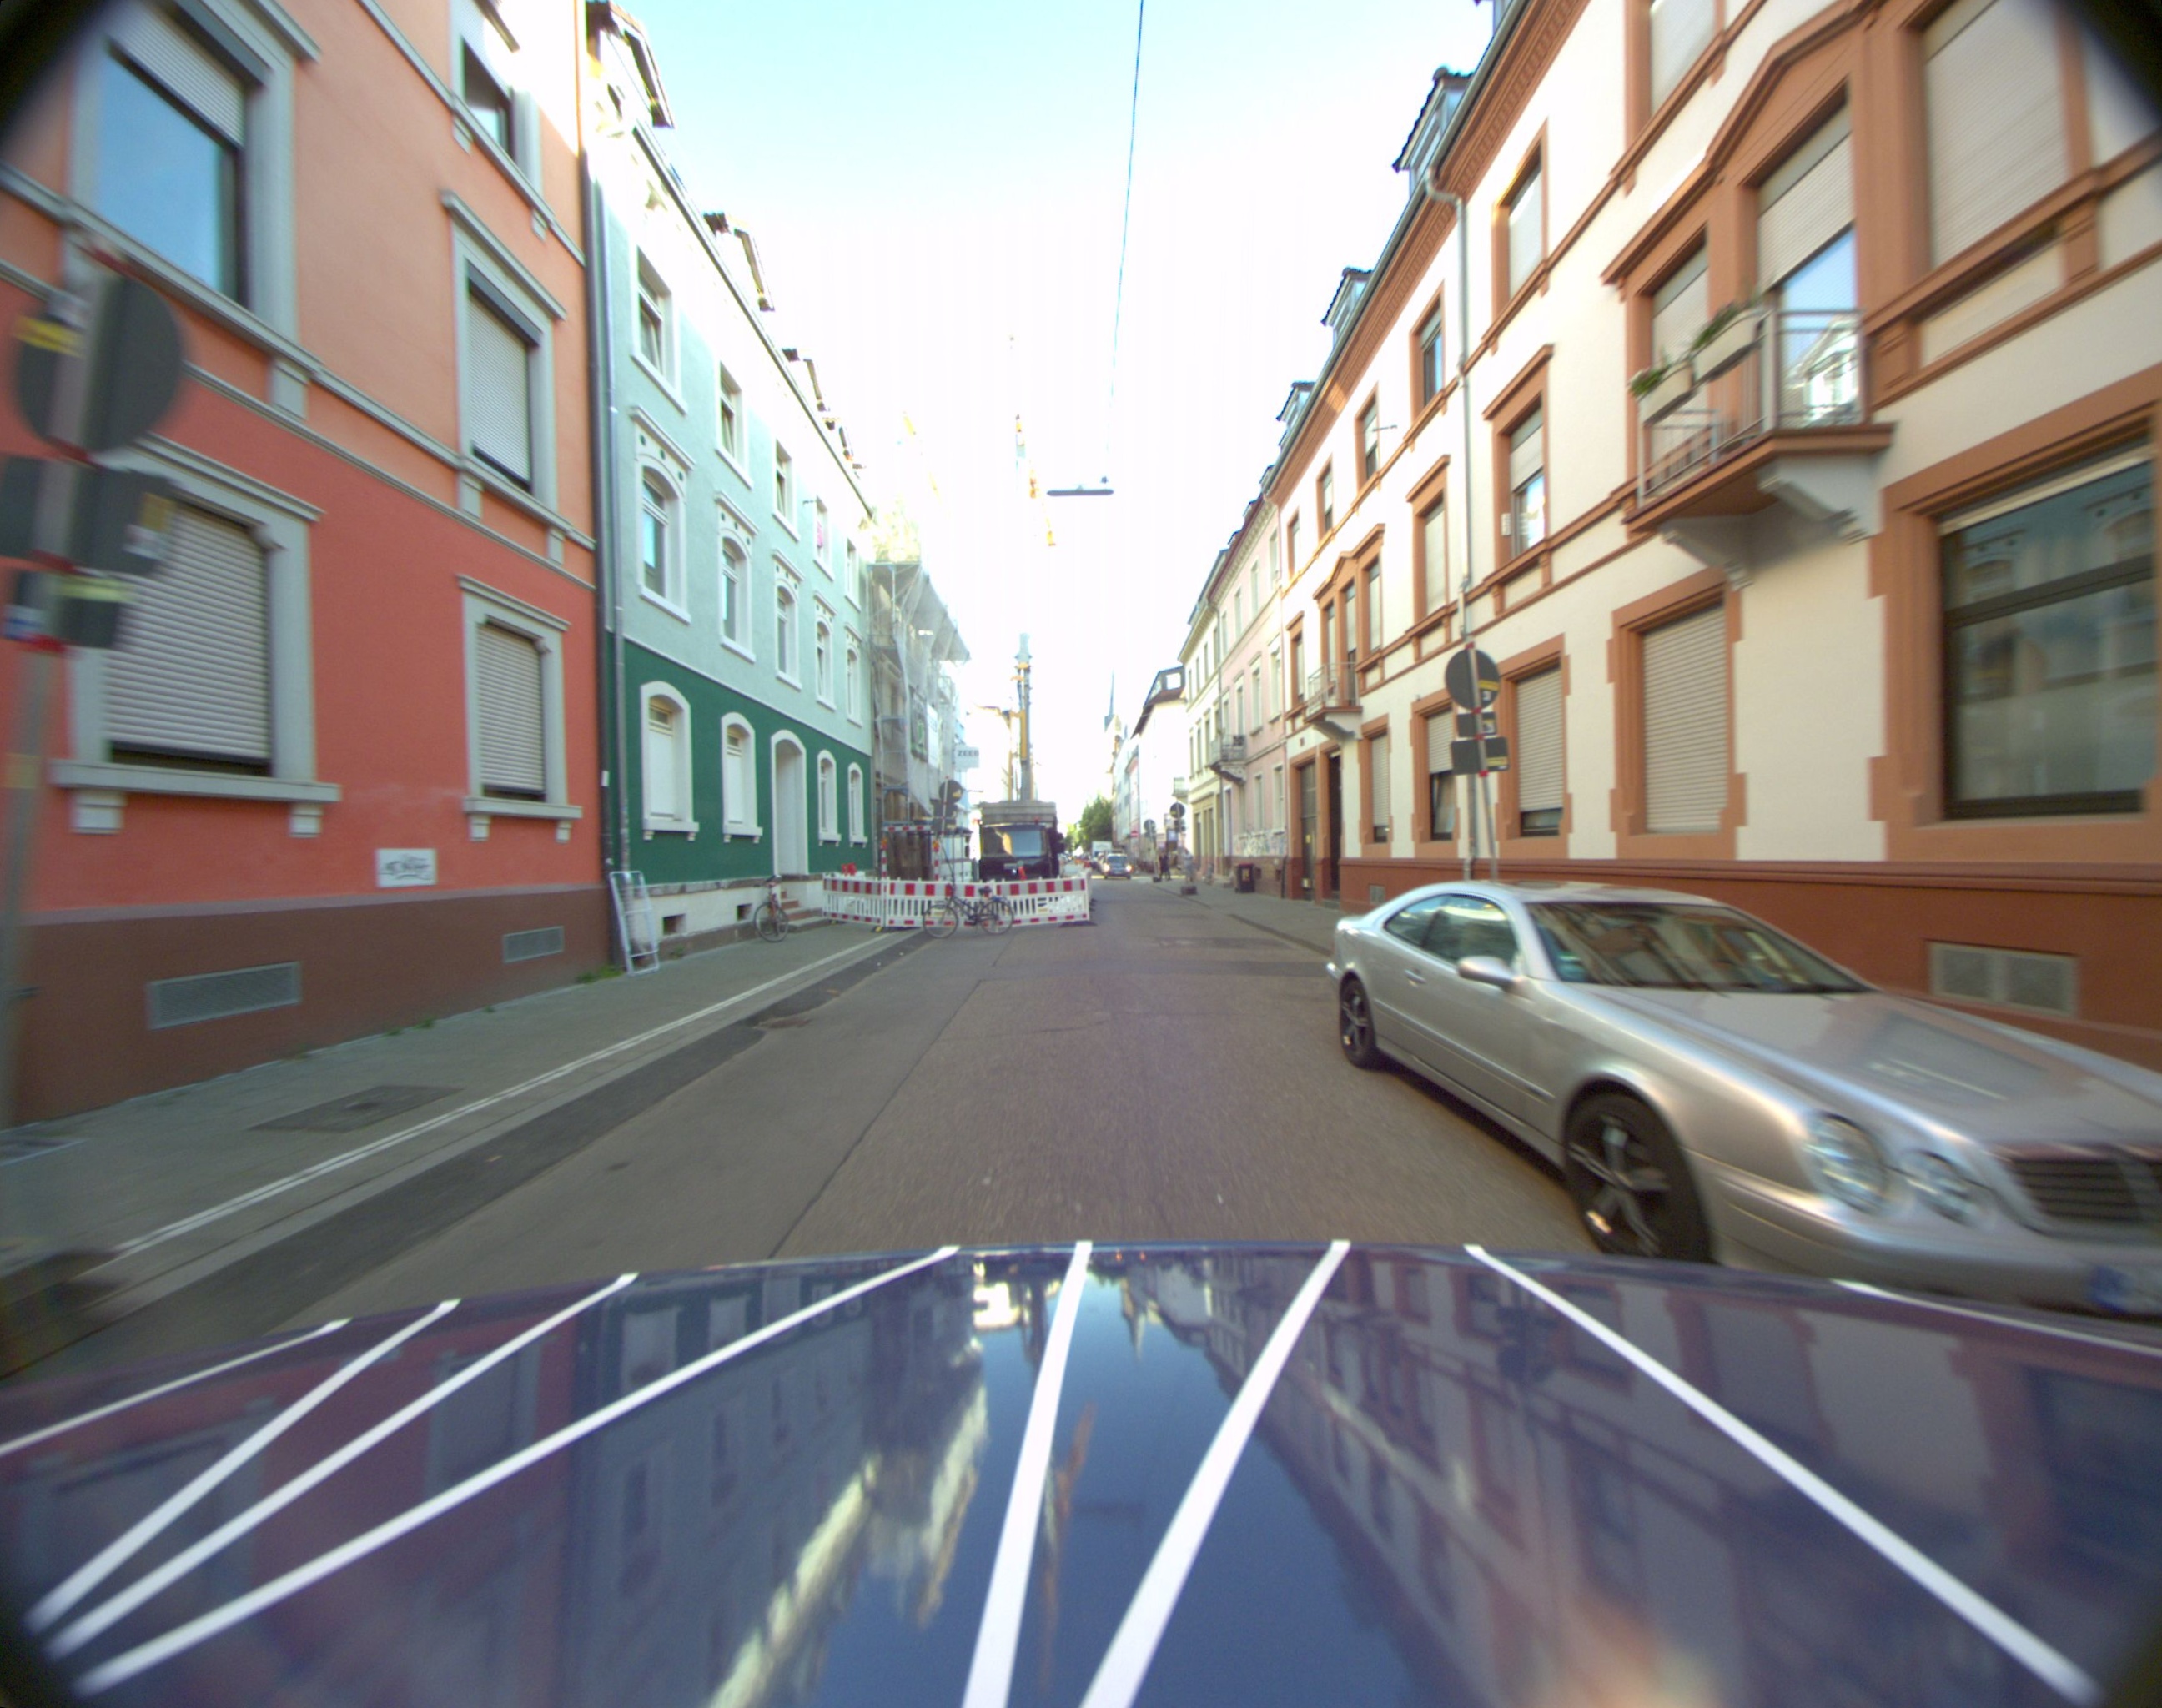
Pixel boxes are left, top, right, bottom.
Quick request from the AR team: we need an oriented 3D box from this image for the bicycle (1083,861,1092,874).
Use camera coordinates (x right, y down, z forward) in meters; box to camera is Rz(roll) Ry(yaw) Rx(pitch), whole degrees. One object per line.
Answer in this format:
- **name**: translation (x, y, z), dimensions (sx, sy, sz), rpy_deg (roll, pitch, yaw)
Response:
- **bicycle**: translation (0.567, 1.171, 68.407), dimensions (0.710, 1.105, 1.935), rpy_deg (-1, 0, 2)

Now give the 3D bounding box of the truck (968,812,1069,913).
- **truck**: translation (-1.854, 0.203, 25.636), dimensions (2.668, 2.798, 7.392), rpy_deg (-2, 1, 0)

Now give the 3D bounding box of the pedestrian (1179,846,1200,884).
- **pedestrian**: translation (5.092, 0.529, 35.563), dimensions (0.695, 1.691, 0.865), rpy_deg (-6, -1, 0)

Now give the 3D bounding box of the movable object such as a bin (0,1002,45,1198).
- **movable object such as a bin**: translation (-5.420, 1.182, 3.457), dimensions (0.599, 0.901, 0.579), rpy_deg (2, 2, -2)

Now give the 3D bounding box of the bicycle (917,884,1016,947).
- **bicycle**: translation (-2.247, 1.195, 15.084), dimensions (1.855, 1.104, 0.643), rpy_deg (-2, 1, -7)

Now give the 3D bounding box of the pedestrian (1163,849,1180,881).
- **pedestrian**: translation (5.329, 0.631, 44.677), dimensions (0.772, 1.839, 0.779), rpy_deg (-2, 1, -8)

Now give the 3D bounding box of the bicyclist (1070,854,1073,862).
- **bicyclist**: translation (-2.063, 0.892, 163.468), dimensions (0.716, 1.650, 0.877), rpy_deg (-2, 1, -3)

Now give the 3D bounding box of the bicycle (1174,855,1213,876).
- **bicycle**: translation (7.594, 0.776, 51.470), dimensions (2.482, 1.351, 0.928), rpy_deg (-1, 1, 1)

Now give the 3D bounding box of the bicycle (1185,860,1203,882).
- **bicycle**: translation (5.817, 0.848, 39.272), dimensions (0.605, 1.016, 1.818), rpy_deg (-5, 1, 0)

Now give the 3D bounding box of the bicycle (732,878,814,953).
- **bicycle**: translation (-5.393, 1.042, 13.417), dimensions (0.656, 1.122, 1.834), rpy_deg (3, 1, 0)

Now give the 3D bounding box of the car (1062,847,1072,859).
- **car**: translation (-3.437, -0.162, 181.940), dimensions (1.999, 2.777, 4.562), rpy_deg (-2, 1, -4)

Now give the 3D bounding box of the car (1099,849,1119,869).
- **car**: translation (2.658, 0.485, 73.032), dimensions (1.807, 1.834, 4.243), rpy_deg (0, 1, -1)

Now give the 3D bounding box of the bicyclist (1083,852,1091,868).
- **bicyclist**: translation (0.552, 0.521, 68.385), dimensions (0.710, 1.427, 0.790), rpy_deg (-1, 1, 2)

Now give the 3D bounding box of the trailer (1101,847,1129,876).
- **trailer**: translation (2.501, 0.545, 56.980), dimensions (1.666, 2.049, 4.362), rpy_deg (0, 1, -3)

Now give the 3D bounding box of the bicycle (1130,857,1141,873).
- **bicycle**: translation (4.039, 0.811, 56.316), dimensions (0.578, 1.132, 1.460), rpy_deg (-2, 1, -6)

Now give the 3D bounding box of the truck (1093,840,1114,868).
- **truck**: translation (2.544, -0.030, 87.291), dimensions (2.296, 3.165, 7.044), rpy_deg (0, 1, 1)

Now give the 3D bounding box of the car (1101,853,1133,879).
- **car**: translation (2.336, 0.767, 49.959), dimensions (1.726, 1.596, 4.165), rpy_deg (0, 0, -2)

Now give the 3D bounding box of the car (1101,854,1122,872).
- **car**: translation (2.685, 0.771, 67.667), dimensions (1.678, 1.488, 4.530), rpy_deg (0, 1, -1)

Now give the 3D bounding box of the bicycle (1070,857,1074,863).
- **bicycle**: translation (-2.043, 1.278, 163.447), dimensions (0.729, 1.173, 2.488), rpy_deg (-2, 1, -3)

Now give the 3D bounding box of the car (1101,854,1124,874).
- **car**: translation (2.593, 0.805, 62.778), dimensions (1.681, 1.546, 3.817), rpy_deg (0, 1, -1)

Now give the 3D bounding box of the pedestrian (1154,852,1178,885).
- **pedestrian**: translation (4.726, 0.803, 42.136), dimensions (0.830, 1.782, 0.987), rpy_deg (1, 1, -39)

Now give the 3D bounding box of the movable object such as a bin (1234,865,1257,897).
- **movable object such as a bin**: translation (5.616, 0.907, 25.907), dimensions (0.607, 1.029, 0.596), rpy_deg (-2, 1, -1)

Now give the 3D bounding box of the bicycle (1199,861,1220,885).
- **bicycle**: translation (5.836, 0.870, 34.666), dimensions (0.623, 1.016, 1.818), rpy_deg (-2, 0, 0)

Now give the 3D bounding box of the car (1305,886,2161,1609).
- **car**: translation (2.707, 0.992, 3.949), dimensions (1.715, 1.375, 4.505), rpy_deg (1, 1, 0)
